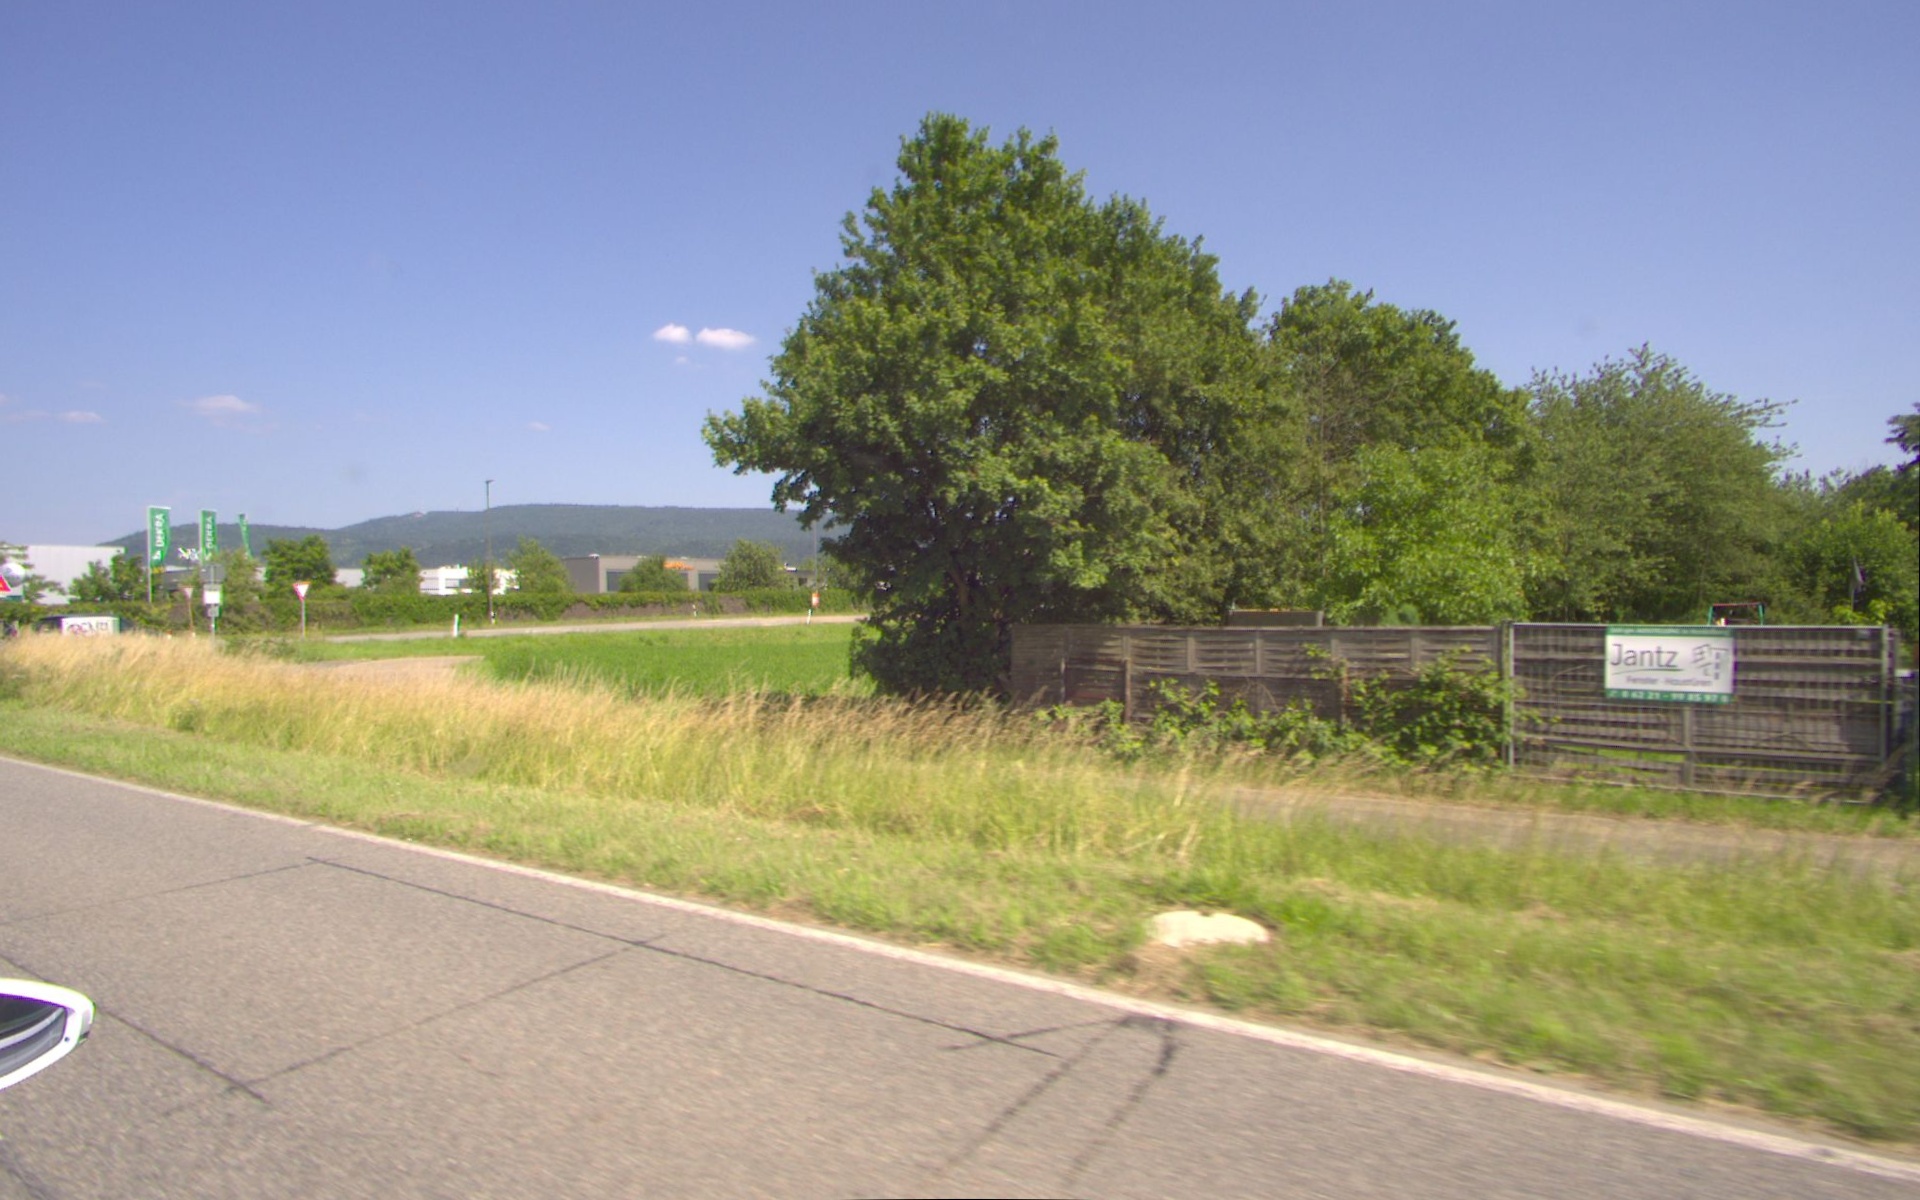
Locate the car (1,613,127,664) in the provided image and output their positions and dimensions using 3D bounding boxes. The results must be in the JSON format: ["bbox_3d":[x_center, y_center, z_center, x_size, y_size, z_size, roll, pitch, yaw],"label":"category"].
[{"bbox_3d":[-31.218,1.305,35.055,1.968,1.637,4.325,0,-1,-23],"label":"car"}]

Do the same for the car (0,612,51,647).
[{"bbox_3d":[-39.501,1.209,40.390,1.784,1.345,3.969,0,0,39],"label":"car"}]
